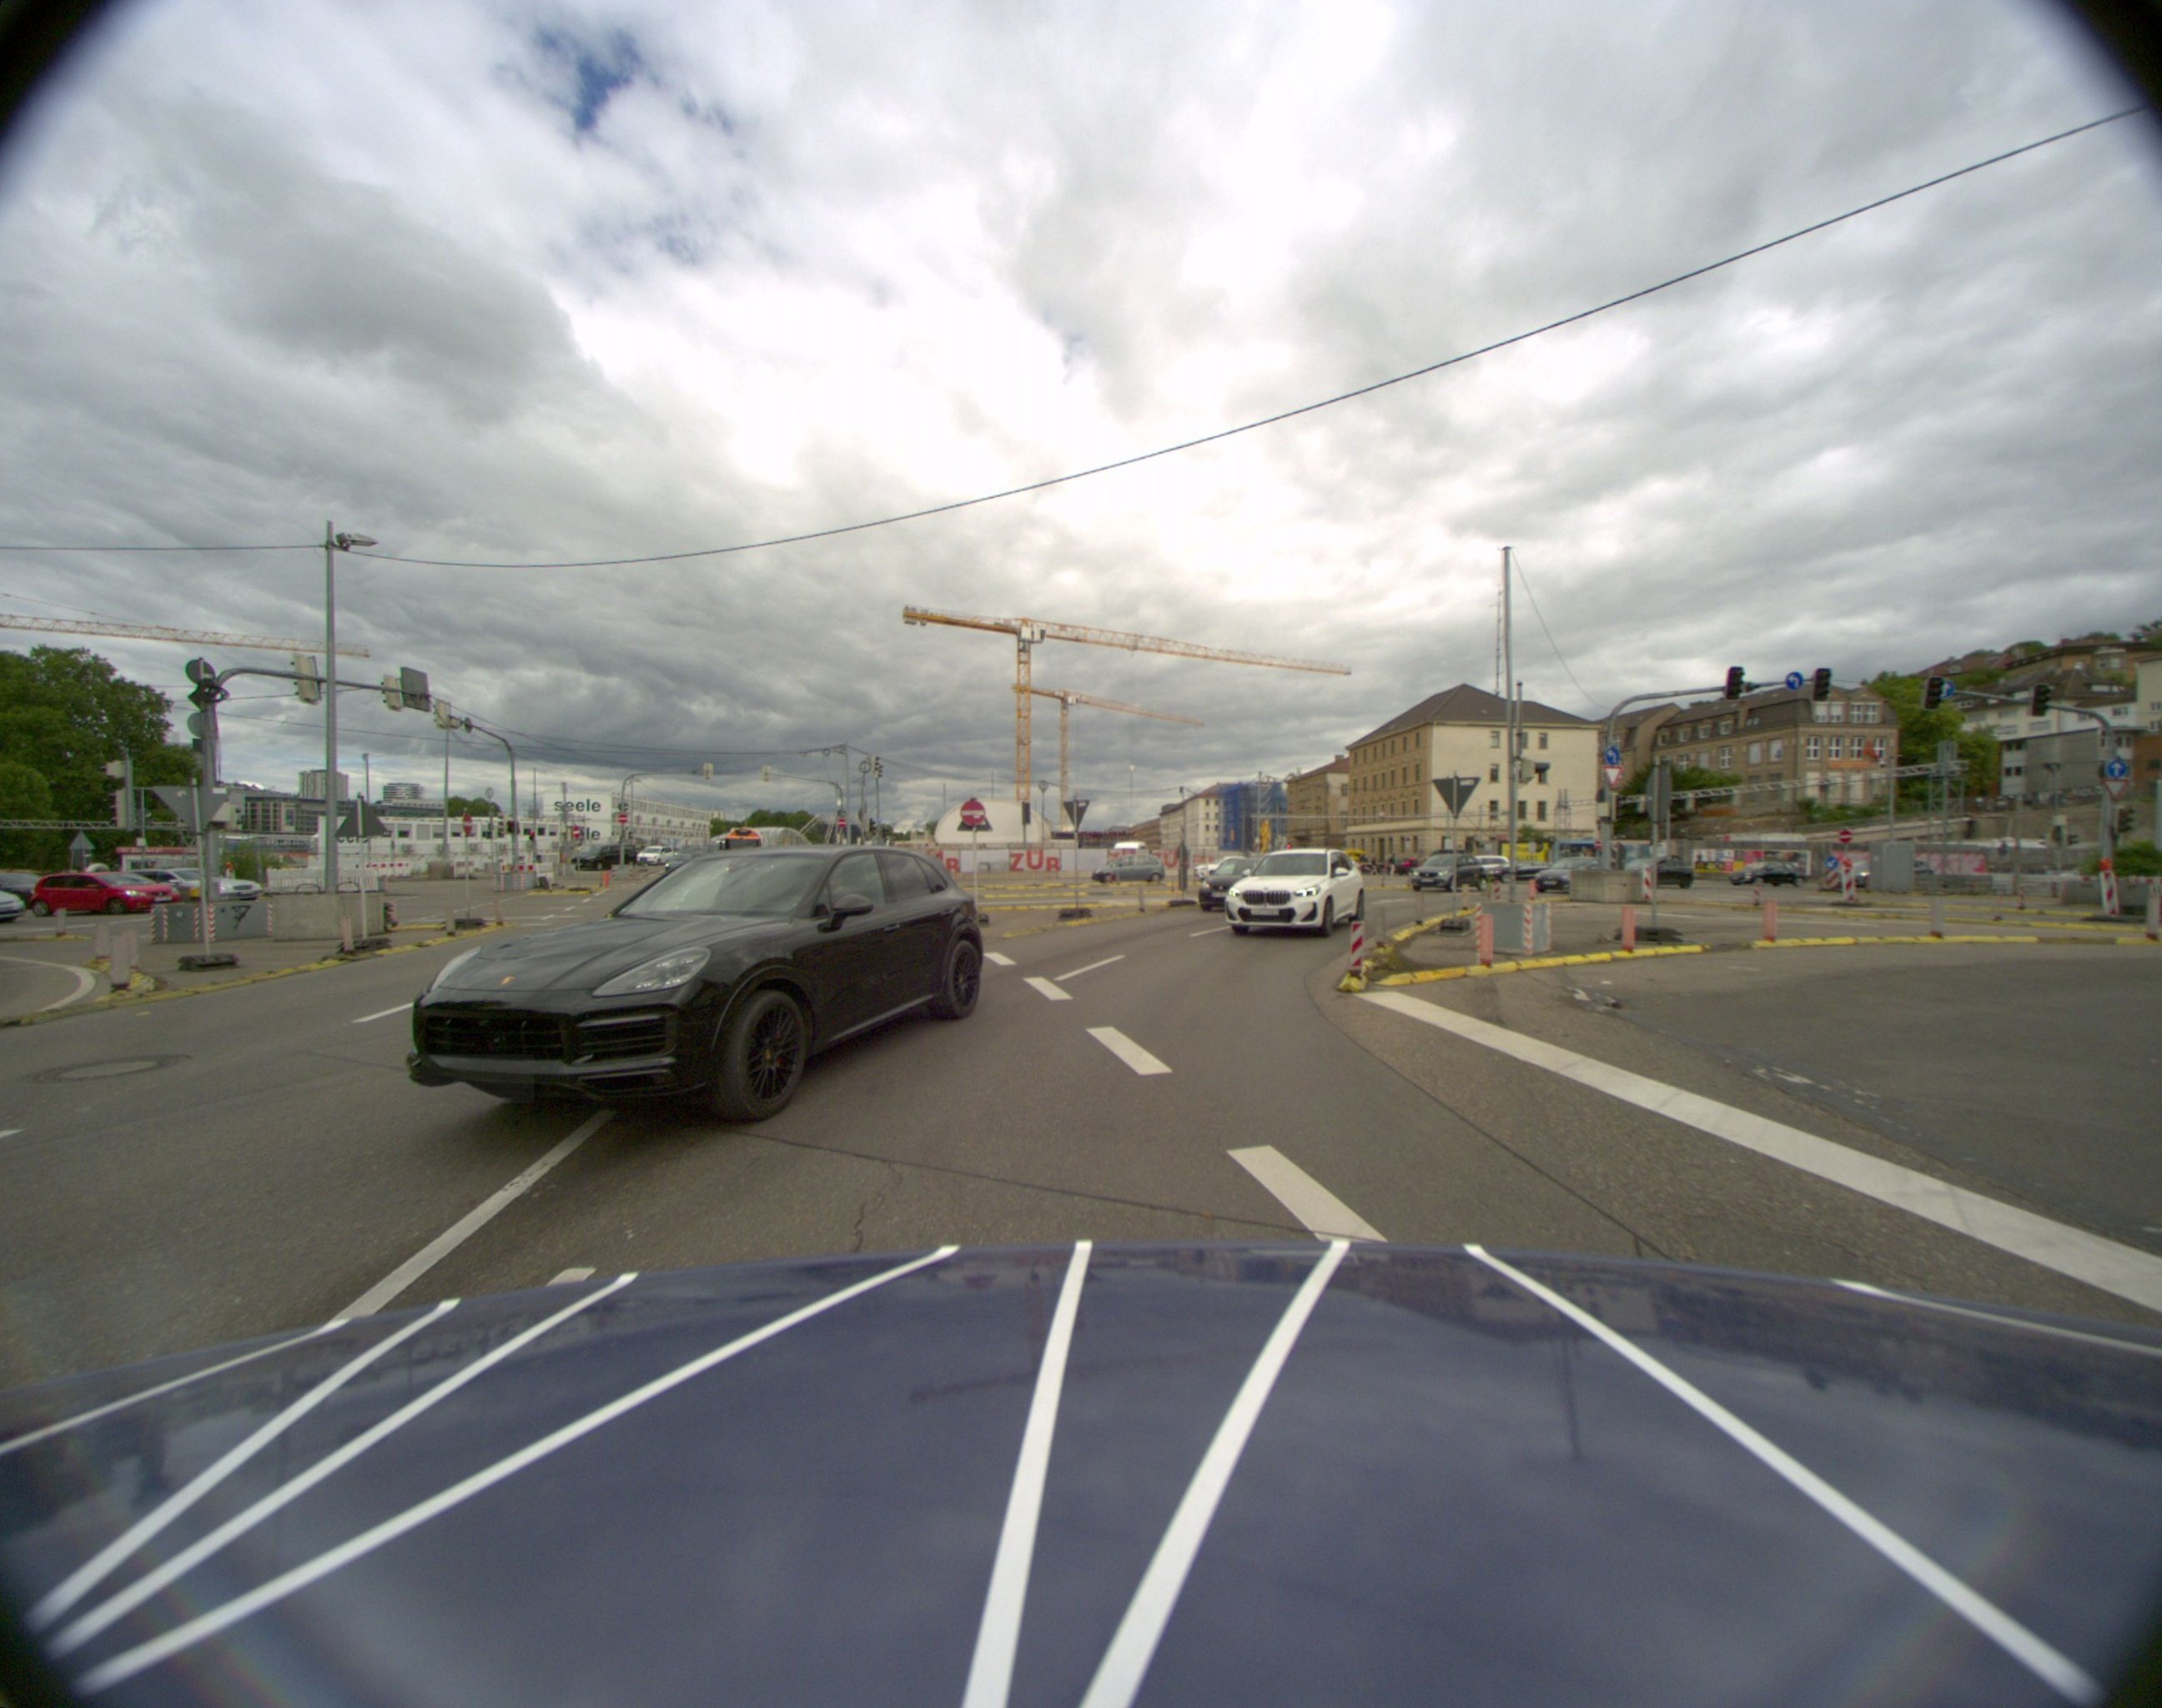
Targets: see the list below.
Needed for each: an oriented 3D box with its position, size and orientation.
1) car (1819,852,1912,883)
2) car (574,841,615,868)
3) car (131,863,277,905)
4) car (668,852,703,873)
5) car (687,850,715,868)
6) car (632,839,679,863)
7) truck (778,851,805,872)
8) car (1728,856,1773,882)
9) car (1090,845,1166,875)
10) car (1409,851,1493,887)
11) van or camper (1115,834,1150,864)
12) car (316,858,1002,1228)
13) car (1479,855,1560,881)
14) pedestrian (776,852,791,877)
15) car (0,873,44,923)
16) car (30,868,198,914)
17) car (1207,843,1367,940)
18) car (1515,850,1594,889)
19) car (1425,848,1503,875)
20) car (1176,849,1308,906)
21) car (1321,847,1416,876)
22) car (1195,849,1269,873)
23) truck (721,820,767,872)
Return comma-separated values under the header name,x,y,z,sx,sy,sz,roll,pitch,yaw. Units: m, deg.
name,x,y,z,sx,sy,sz,roll,pitch,yaw
car,38.768,0.625,37.552,4.110,1.412,1.873,-1,1,-24
car,-37.674,0.076,58.941,2.002,2.002,3.992,1,0,-23
car,-33.557,1.130,29.156,3.445,1.427,1.693,-1,3,-2
car,-28.463,0.550,54.780,1.789,1.427,4.060,0,1,-21
car,-30.274,0.373,60.564,1.654,1.427,3.612,0,1,-21
car,-37.144,-0.223,66.460,1.999,2.002,4.163,1,0,-5
truck,-21.670,0.558,56.842,1.828,1.531,3.754,0,0,-20
car,40.170,0.861,45.679,1.871,1.412,4.113,0,1,39
car,2.547,0.318,42.009,3.954,1.564,1.692,-1,0,-6
car,15.325,0.607,31.412,3.578,1.411,1.573,1,1,-36
van or camper,4.102,-0.453,59.891,1.996,2.215,4.003,1,2,16
car,-2.392,0.890,5.912,1.953,1.638,4.613,-1,0,15
car,25.663,0.829,44.523,3.700,1.381,1.728,1,1,1
pedestrian,-19.855,0.687,50.682,0.852,1.583,0.621,-1,2,-24
car,-34.346,1.401,22.945,3.445,1.427,1.664,-2,3,-4
car,-33.268,1.250,26.226,3.445,1.427,1.690,0,2,-2
car,4.070,0.624,14.606,1.808,1.595,3.720,-2,0,34
car,19.510,0.585,31.235,4.113,1.412,1.848,-2,1,-45
car,23.716,0.475,47.118,4.070,1.564,1.692,1,-1,-4
car,4.771,0.631,22.102,1.729,1.461,4.429,2,1,42
car,16.329,0.422,43.274,4.682,1.570,1.910,0,1,-7
car,9.053,0.394,45.677,4.085,1.407,1.692,0,0,-3
truck,-25.650,-0.657,58.169,2.914,3.654,9.008,0,1,-22
